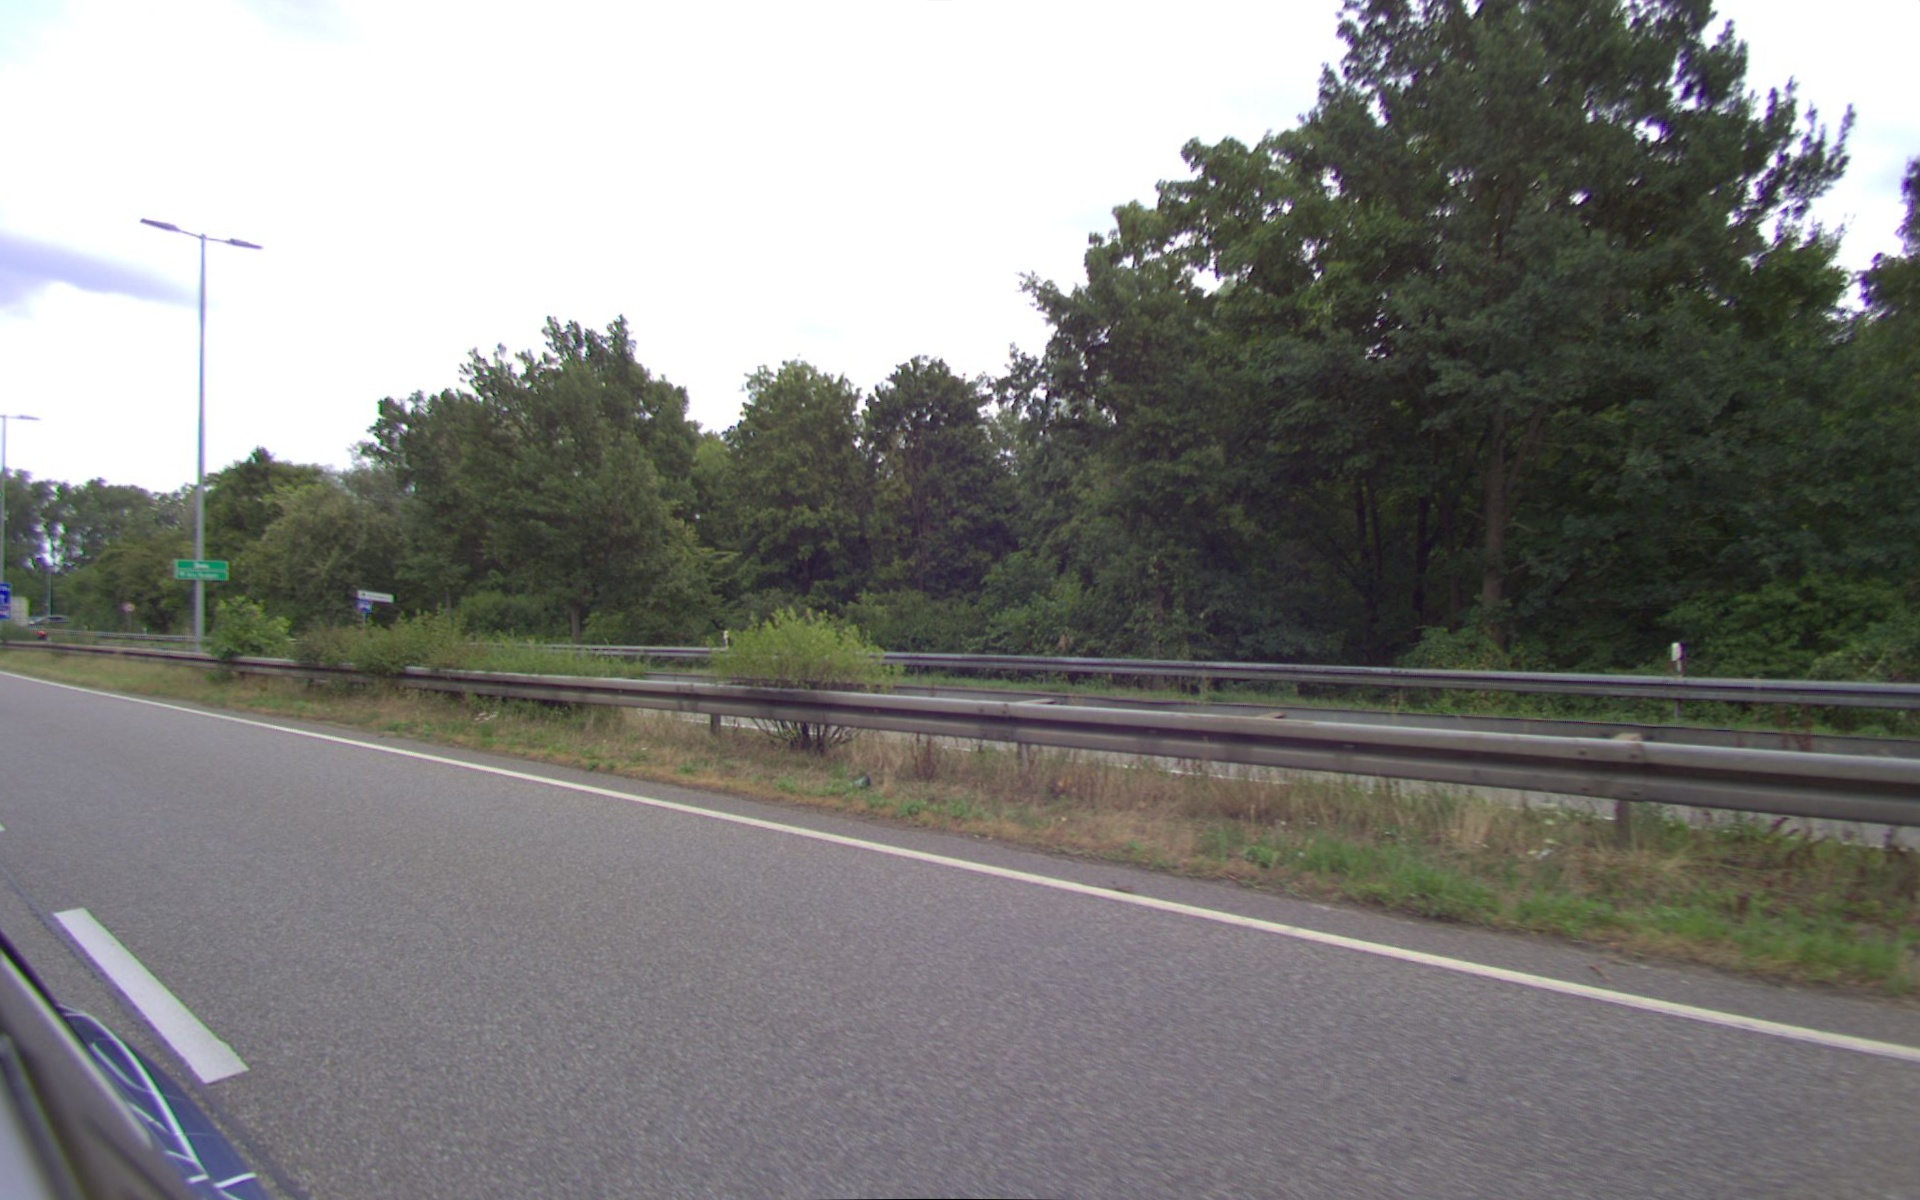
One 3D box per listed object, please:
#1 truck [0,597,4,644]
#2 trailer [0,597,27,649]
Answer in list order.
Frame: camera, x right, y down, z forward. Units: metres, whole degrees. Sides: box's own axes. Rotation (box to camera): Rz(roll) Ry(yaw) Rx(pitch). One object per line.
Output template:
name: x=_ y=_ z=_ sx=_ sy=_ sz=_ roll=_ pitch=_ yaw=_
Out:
truck: x=-86.916 y=1.808 z=89.472 sx=5.613 sy=4.114 sz=2.544 roll=0 pitch=-1 yaw=37
trailer: x=-82.213 y=1.864 z=85.883 sx=10.752 sy=4.178 sz=2.512 roll=0 pitch=-1 yaw=37
